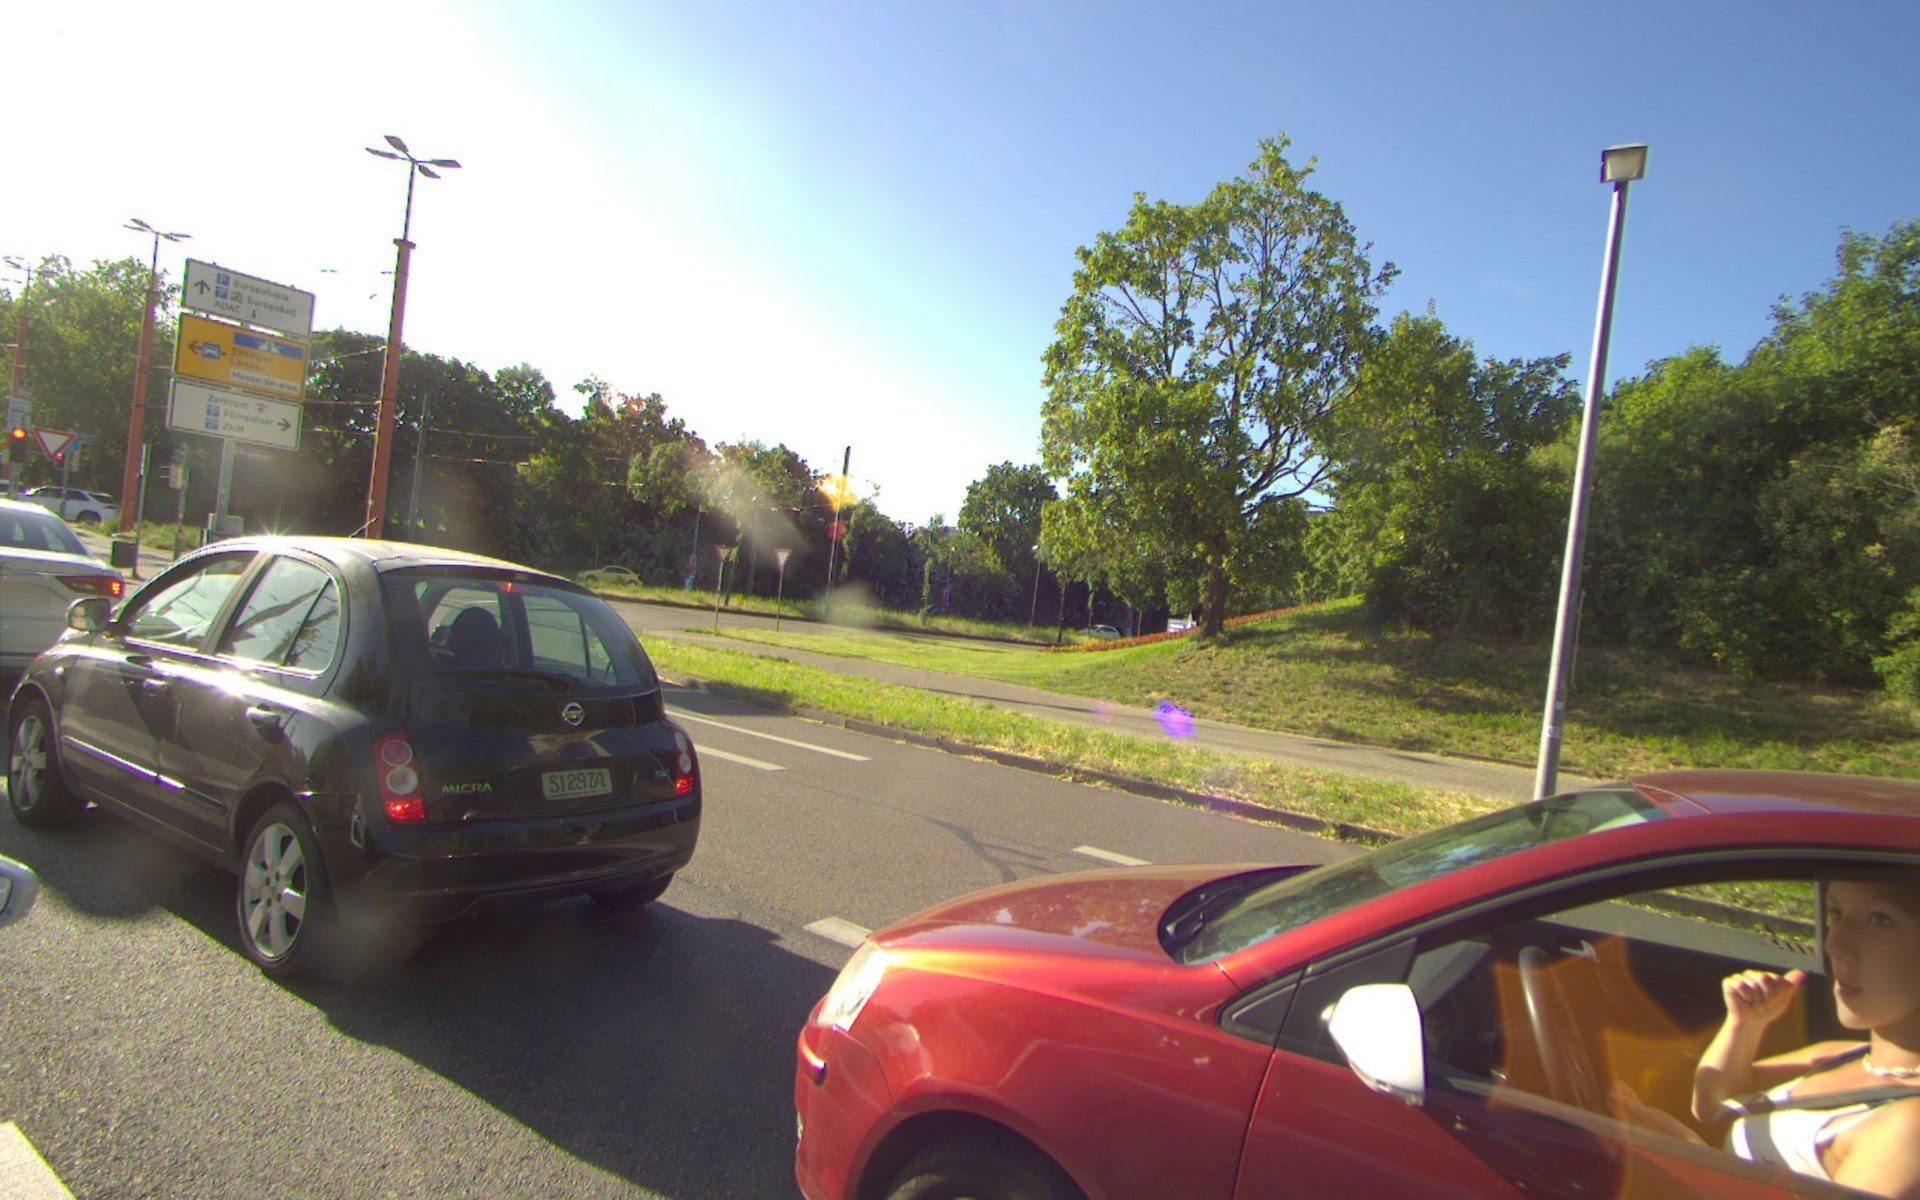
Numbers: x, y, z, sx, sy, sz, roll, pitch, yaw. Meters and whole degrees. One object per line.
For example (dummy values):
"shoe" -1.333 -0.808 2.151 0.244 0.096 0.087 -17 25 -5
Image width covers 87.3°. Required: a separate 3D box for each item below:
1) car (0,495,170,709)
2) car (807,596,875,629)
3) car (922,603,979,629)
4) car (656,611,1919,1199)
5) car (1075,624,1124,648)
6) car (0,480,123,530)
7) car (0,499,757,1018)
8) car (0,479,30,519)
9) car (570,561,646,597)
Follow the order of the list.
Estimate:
"car" -8.375 -0.177 8.079 4.256 1.457 1.802 6 -2 33
"car" -8.107 0.869 68.680 4.174 1.701 1.643 8 -1 -31
"car" -0.693 1.211 76.072 3.886 1.474 1.643 8 -1 -31
"car" 1.341 1.000 1.869 3.629 1.477 1.579 6 -2 32
"car" 11.703 3.053 84.308 3.888 1.474 1.643 8 -1 -32
"car" -42.943 -4.500 47.708 4.629 1.644 1.643 8 -1 -32
"car" -2.802 0.465 4.625 3.385 1.457 1.579 6 -2 32
"car" -47.823 -5.127 48.419 4.093 1.771 1.642 8 -1 -33
"car" -22.429 -1.332 64.123 4.176 1.701 1.643 8 -1 -32
